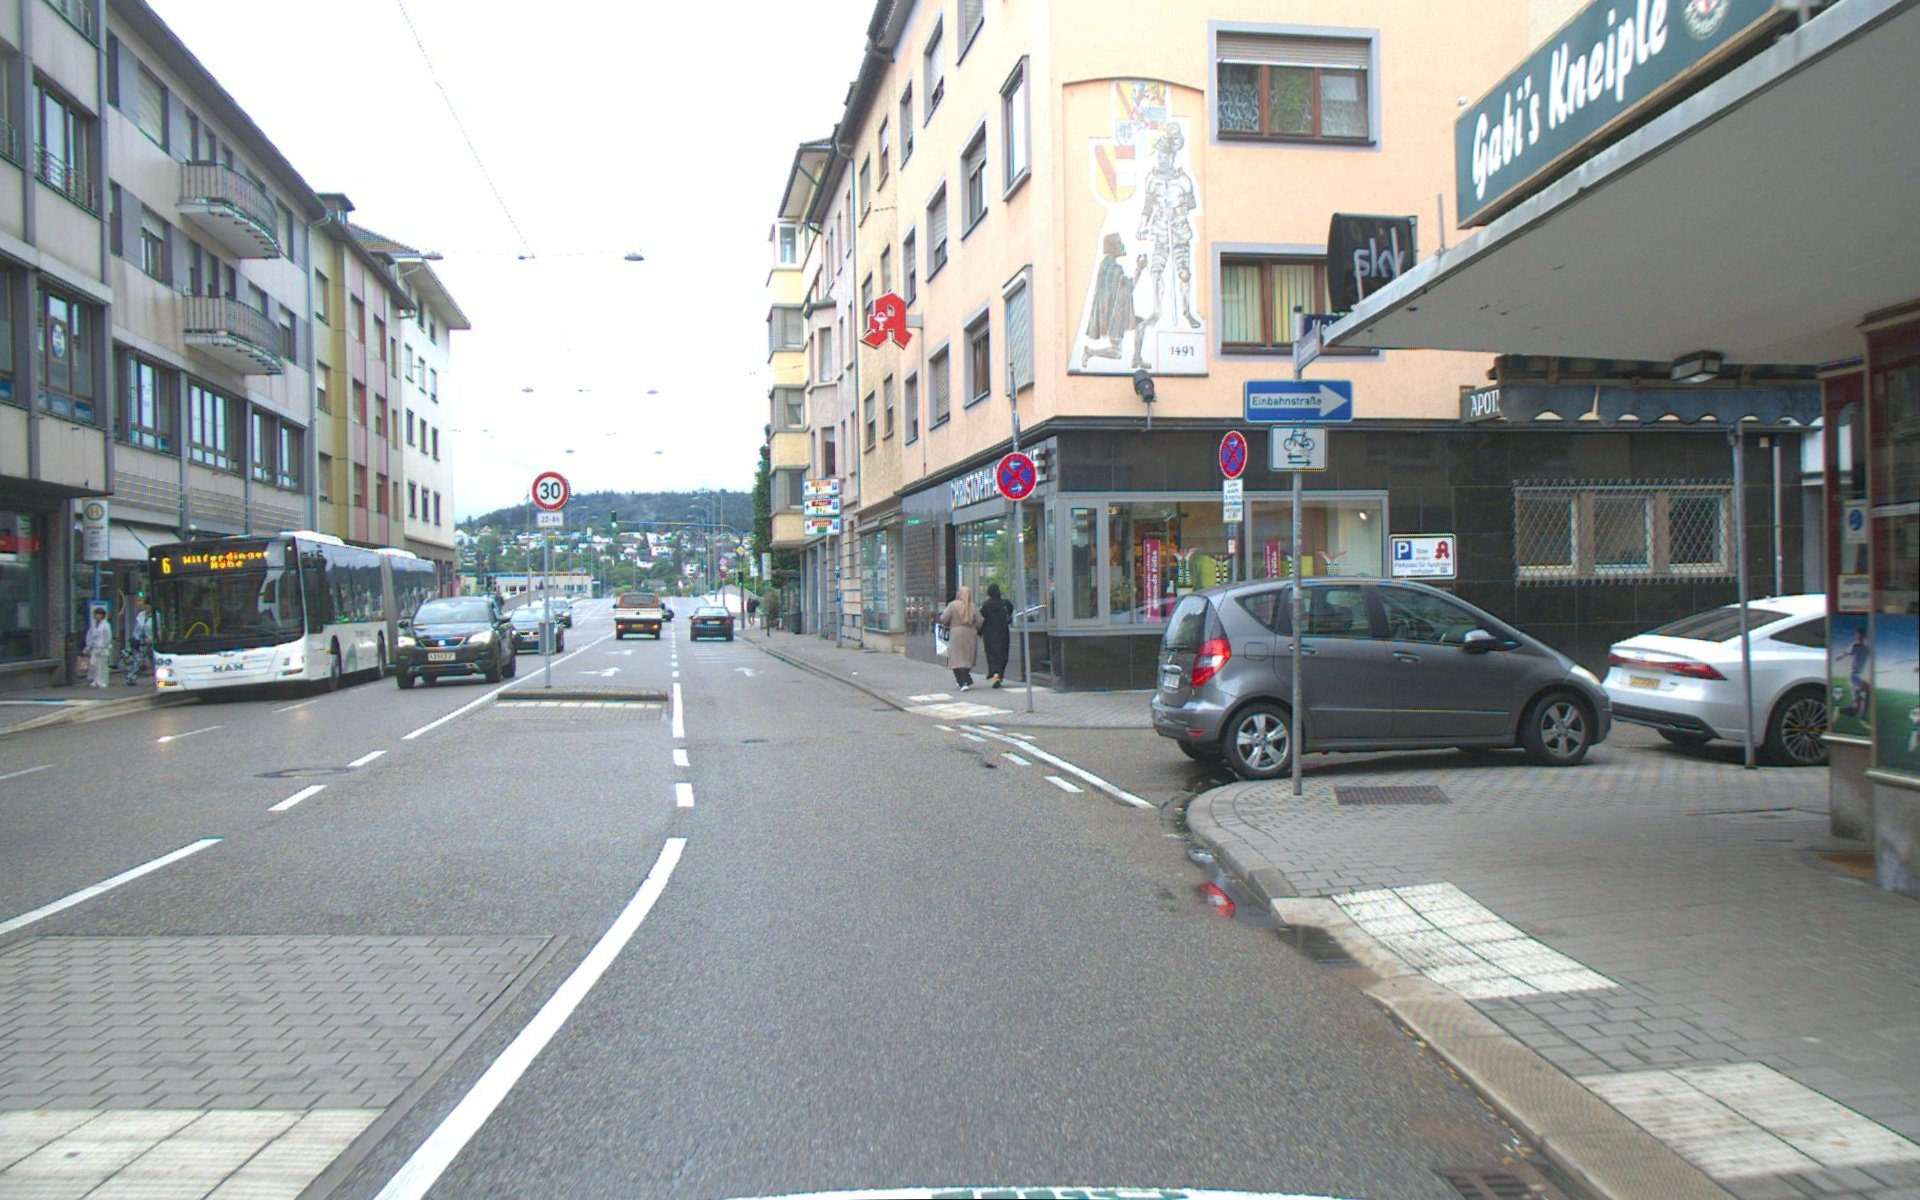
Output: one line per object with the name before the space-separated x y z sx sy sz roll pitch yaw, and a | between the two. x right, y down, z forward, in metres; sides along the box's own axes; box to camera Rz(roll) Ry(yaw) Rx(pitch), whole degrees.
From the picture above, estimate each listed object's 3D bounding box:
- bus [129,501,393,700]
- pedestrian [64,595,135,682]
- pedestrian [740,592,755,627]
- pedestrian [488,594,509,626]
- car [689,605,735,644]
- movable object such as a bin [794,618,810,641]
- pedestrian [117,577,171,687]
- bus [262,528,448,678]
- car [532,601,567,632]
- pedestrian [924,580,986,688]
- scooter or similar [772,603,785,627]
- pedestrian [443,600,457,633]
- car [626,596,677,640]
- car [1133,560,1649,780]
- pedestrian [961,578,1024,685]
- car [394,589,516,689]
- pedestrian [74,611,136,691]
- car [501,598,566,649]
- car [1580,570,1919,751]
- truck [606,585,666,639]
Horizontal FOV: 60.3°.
bus | -13.153 0.028 31.991 2.709 3.244 8.889 -2 0 -10
pedestrian | -16.366 0.724 31.463 0.927 1.617 0.833 -2 0 -8
pedestrian | -11.568 0.512 90.156 0.720 1.873 0.629 -1 -1 -12
pedestrian | -30.150 0.677 107.971 0.962 2.049 1.174 -2 0 1
car | -10.095 0.985 67.044 1.722 1.505 3.990 -2 0 -10
movable object such as a bin | -6.717 1.250 70.157 0.589 0.942 0.703 -2 0 -10
pedestrian | -15.512 0.610 31.470 0.666 2.049 0.775 -2 -1 -8
bus | -14.722 0.099 40.972 2.676 3.244 9.269 -2 0 -10
car | -24.986 1.024 100.784 1.897 1.788 4.559 -2 0 -12
pedestrian | -0.076 0.514 25.129 0.765 1.587 0.780 -1 -1 -12
scooter or similar | -9.072 0.758 82.747 0.502 1.193 1.545 -2 0 -10
pedestrian | -24.872 0.818 80.693 0.565 1.580 0.737 -1 -1 -13
car | -17.687 1.004 95.026 1.953 2.392 5.009 -2 0 0
car | 3.542 0.538 13.997 3.753 1.601 1.933 -2 0 -8
pedestrian | 0.497 0.475 25.330 0.755 1.587 0.874 -1 -1 -12
car | -9.482 0.668 31.327 1.712 1.691 4.405 -2 1 -11
pedestrian | -15.660 0.923 30.321 0.754 1.420 0.785 -2 0 -8
car | -13.249 0.716 51.548 1.678 1.476 4.074 -2 0 -11
car | 8.189 0.481 15.101 4.394 1.467 1.784 -2 0 -7
truck | -13.751 0.508 70.474 2.356 2.167 5.301 -2 0 -10
